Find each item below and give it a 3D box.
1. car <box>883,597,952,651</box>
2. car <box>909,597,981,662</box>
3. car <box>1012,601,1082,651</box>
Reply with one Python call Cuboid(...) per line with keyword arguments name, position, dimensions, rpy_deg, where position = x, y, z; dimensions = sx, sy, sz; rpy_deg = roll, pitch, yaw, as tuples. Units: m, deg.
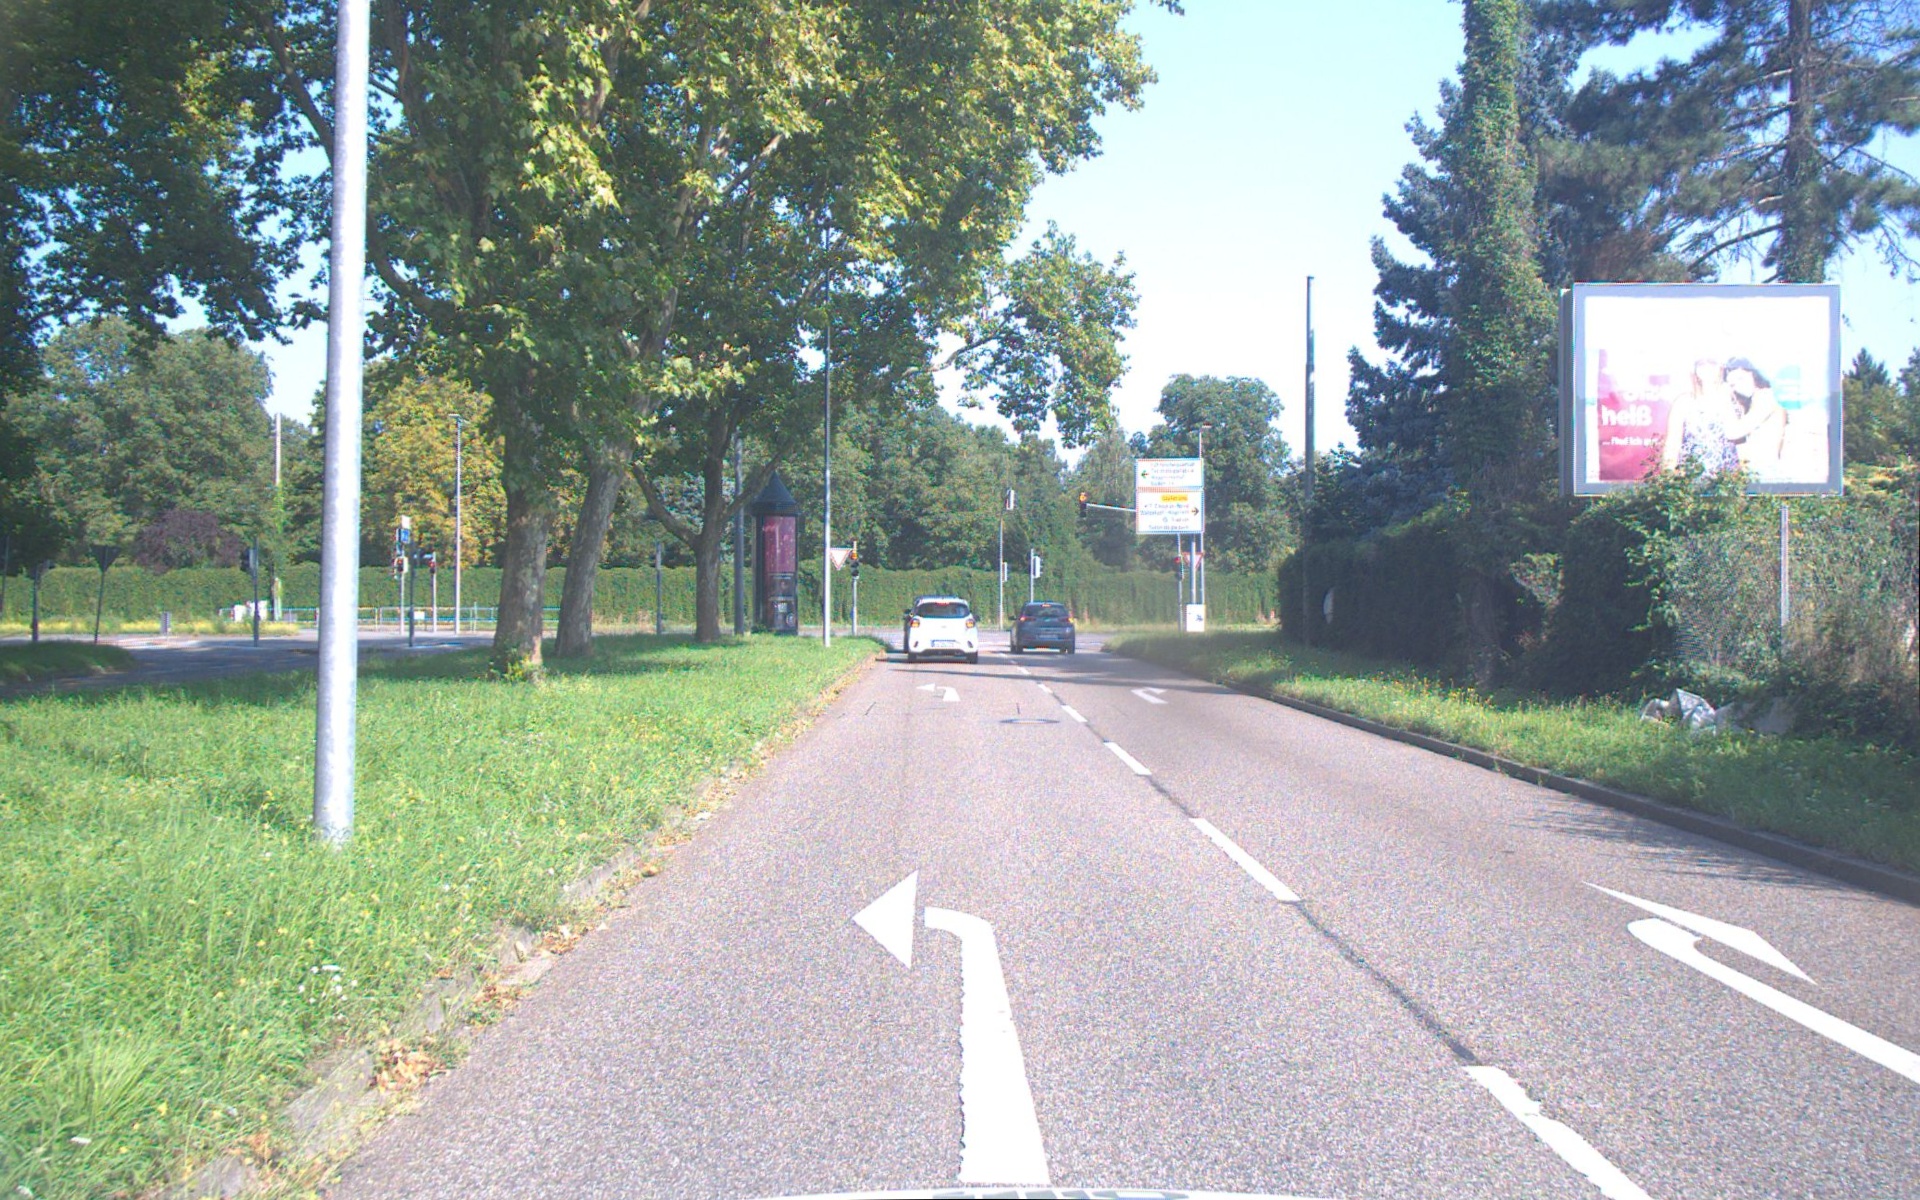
Cuboid(name="car", position=(-1.202, 0.674, 48.047), dimensions=(1.652, 1.487, 3.851), rpy_deg=(0, 0, 4))
Cuboid(name="car", position=(-0.333, 0.686, 39.960), dimensions=(1.653, 1.487, 4.000), rpy_deg=(0, 0, 0))
Cuboid(name="car", position=(2.514, 0.742, 48.564), dimensions=(1.761, 1.426, 3.999), rpy_deg=(0, 0, -1))
